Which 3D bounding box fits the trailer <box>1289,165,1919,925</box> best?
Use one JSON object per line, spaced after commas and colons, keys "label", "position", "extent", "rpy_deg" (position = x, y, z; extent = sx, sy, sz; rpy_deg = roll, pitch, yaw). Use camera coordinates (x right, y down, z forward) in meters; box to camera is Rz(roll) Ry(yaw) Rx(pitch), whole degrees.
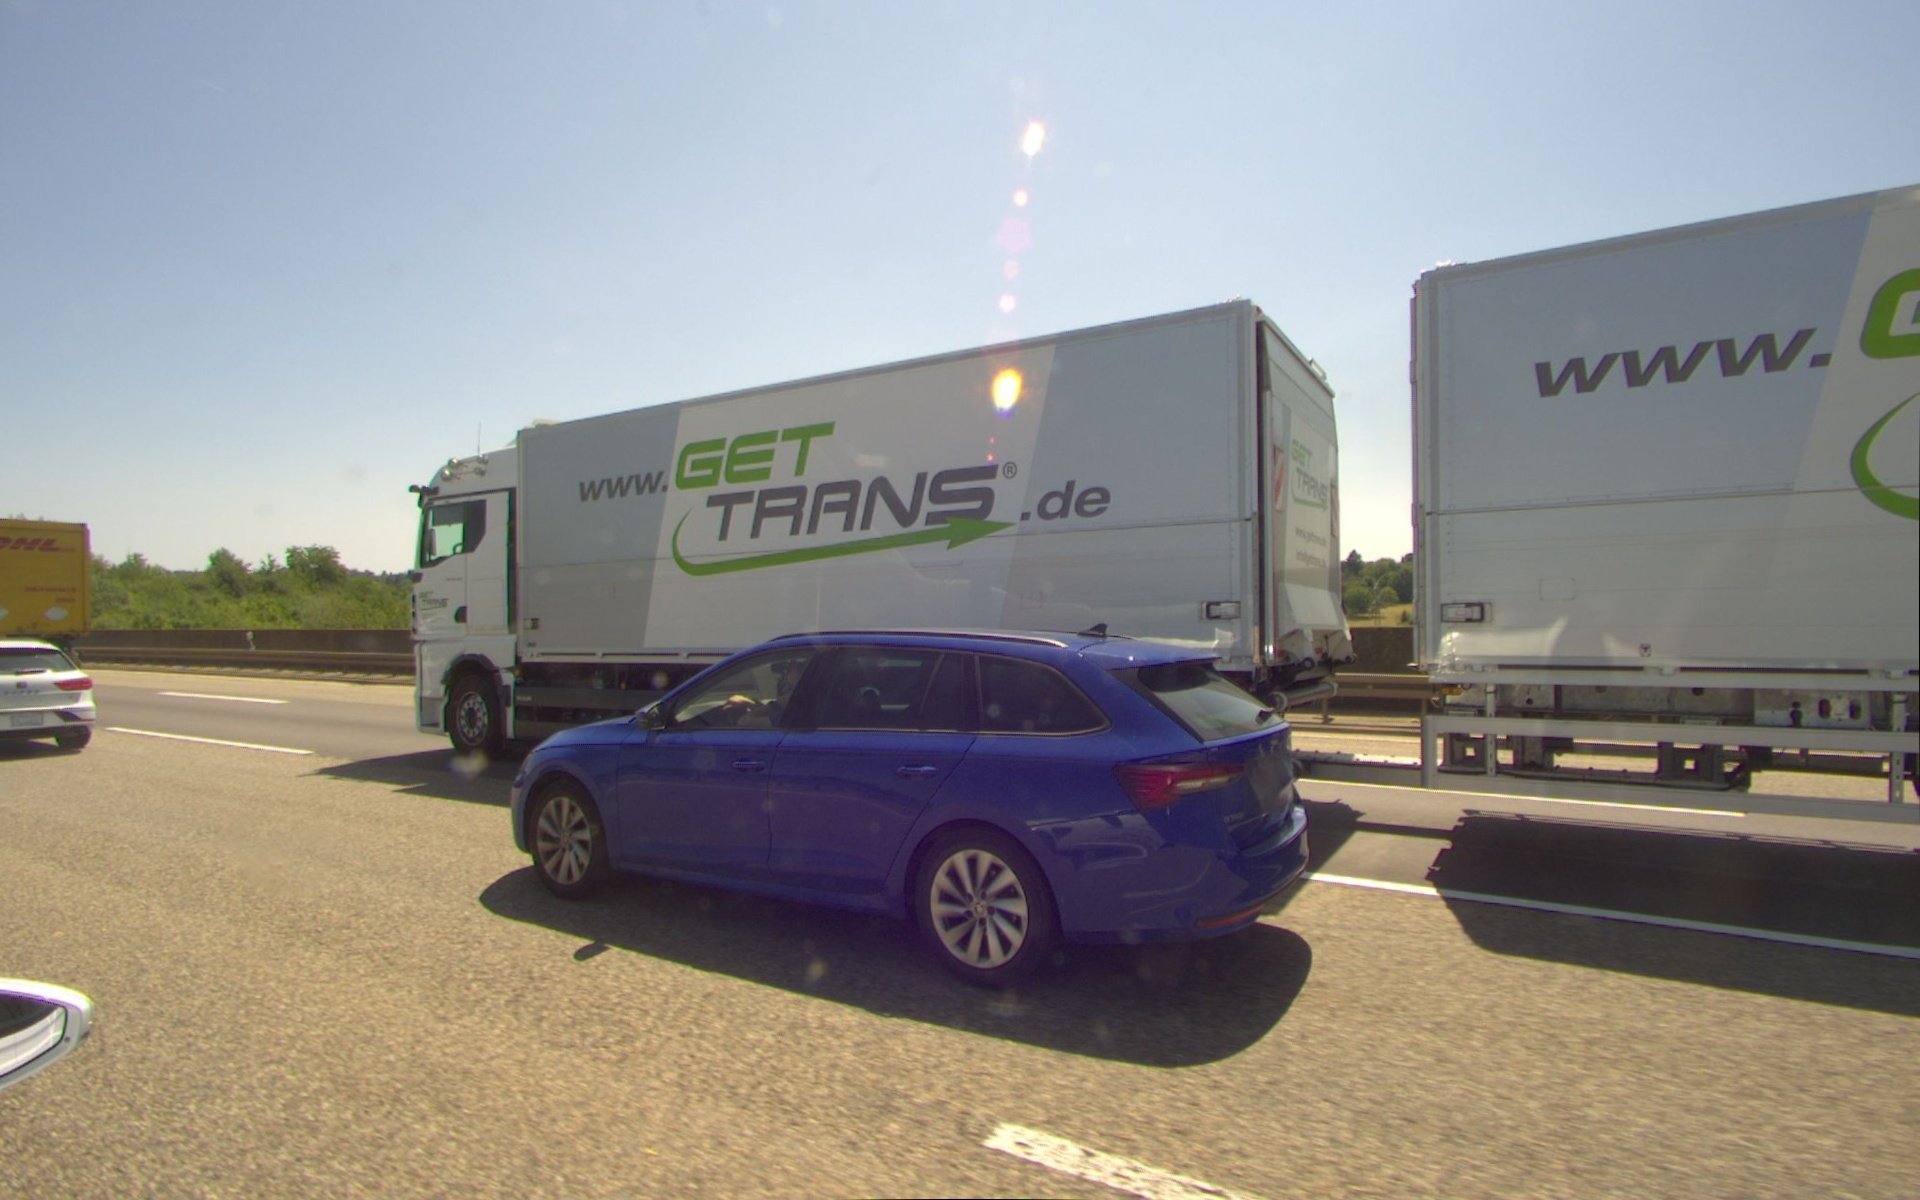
{"label": "trailer", "position": [6.288, -0.243, 5.398], "extent": [8.173, 3.640, 2.840], "rpy_deg": [-1, -2, 32]}

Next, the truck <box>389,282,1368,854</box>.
{"label": "truck", "position": [-1.652, -0.046, 10.446], "extent": [10.616, 3.648, 2.846], "rpy_deg": [-2, -2, 32]}

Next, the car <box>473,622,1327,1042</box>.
{"label": "car", "position": [-0.508, 0.861, 5.386], "extent": [4.435, 1.459, 1.707], "rpy_deg": [-1, -1, 32]}

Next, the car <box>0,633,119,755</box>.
{"label": "car", "position": [-12.797, 1.138, 12.961], "extent": [4.128, 1.405, 1.778], "rpy_deg": [-1, -1, 33]}

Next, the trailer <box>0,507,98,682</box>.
{"label": "trailer", "position": [-25.730, -0.004, 25.922], "extent": [8.804, 4.074, 2.697], "rpy_deg": [-2, -2, 32]}
